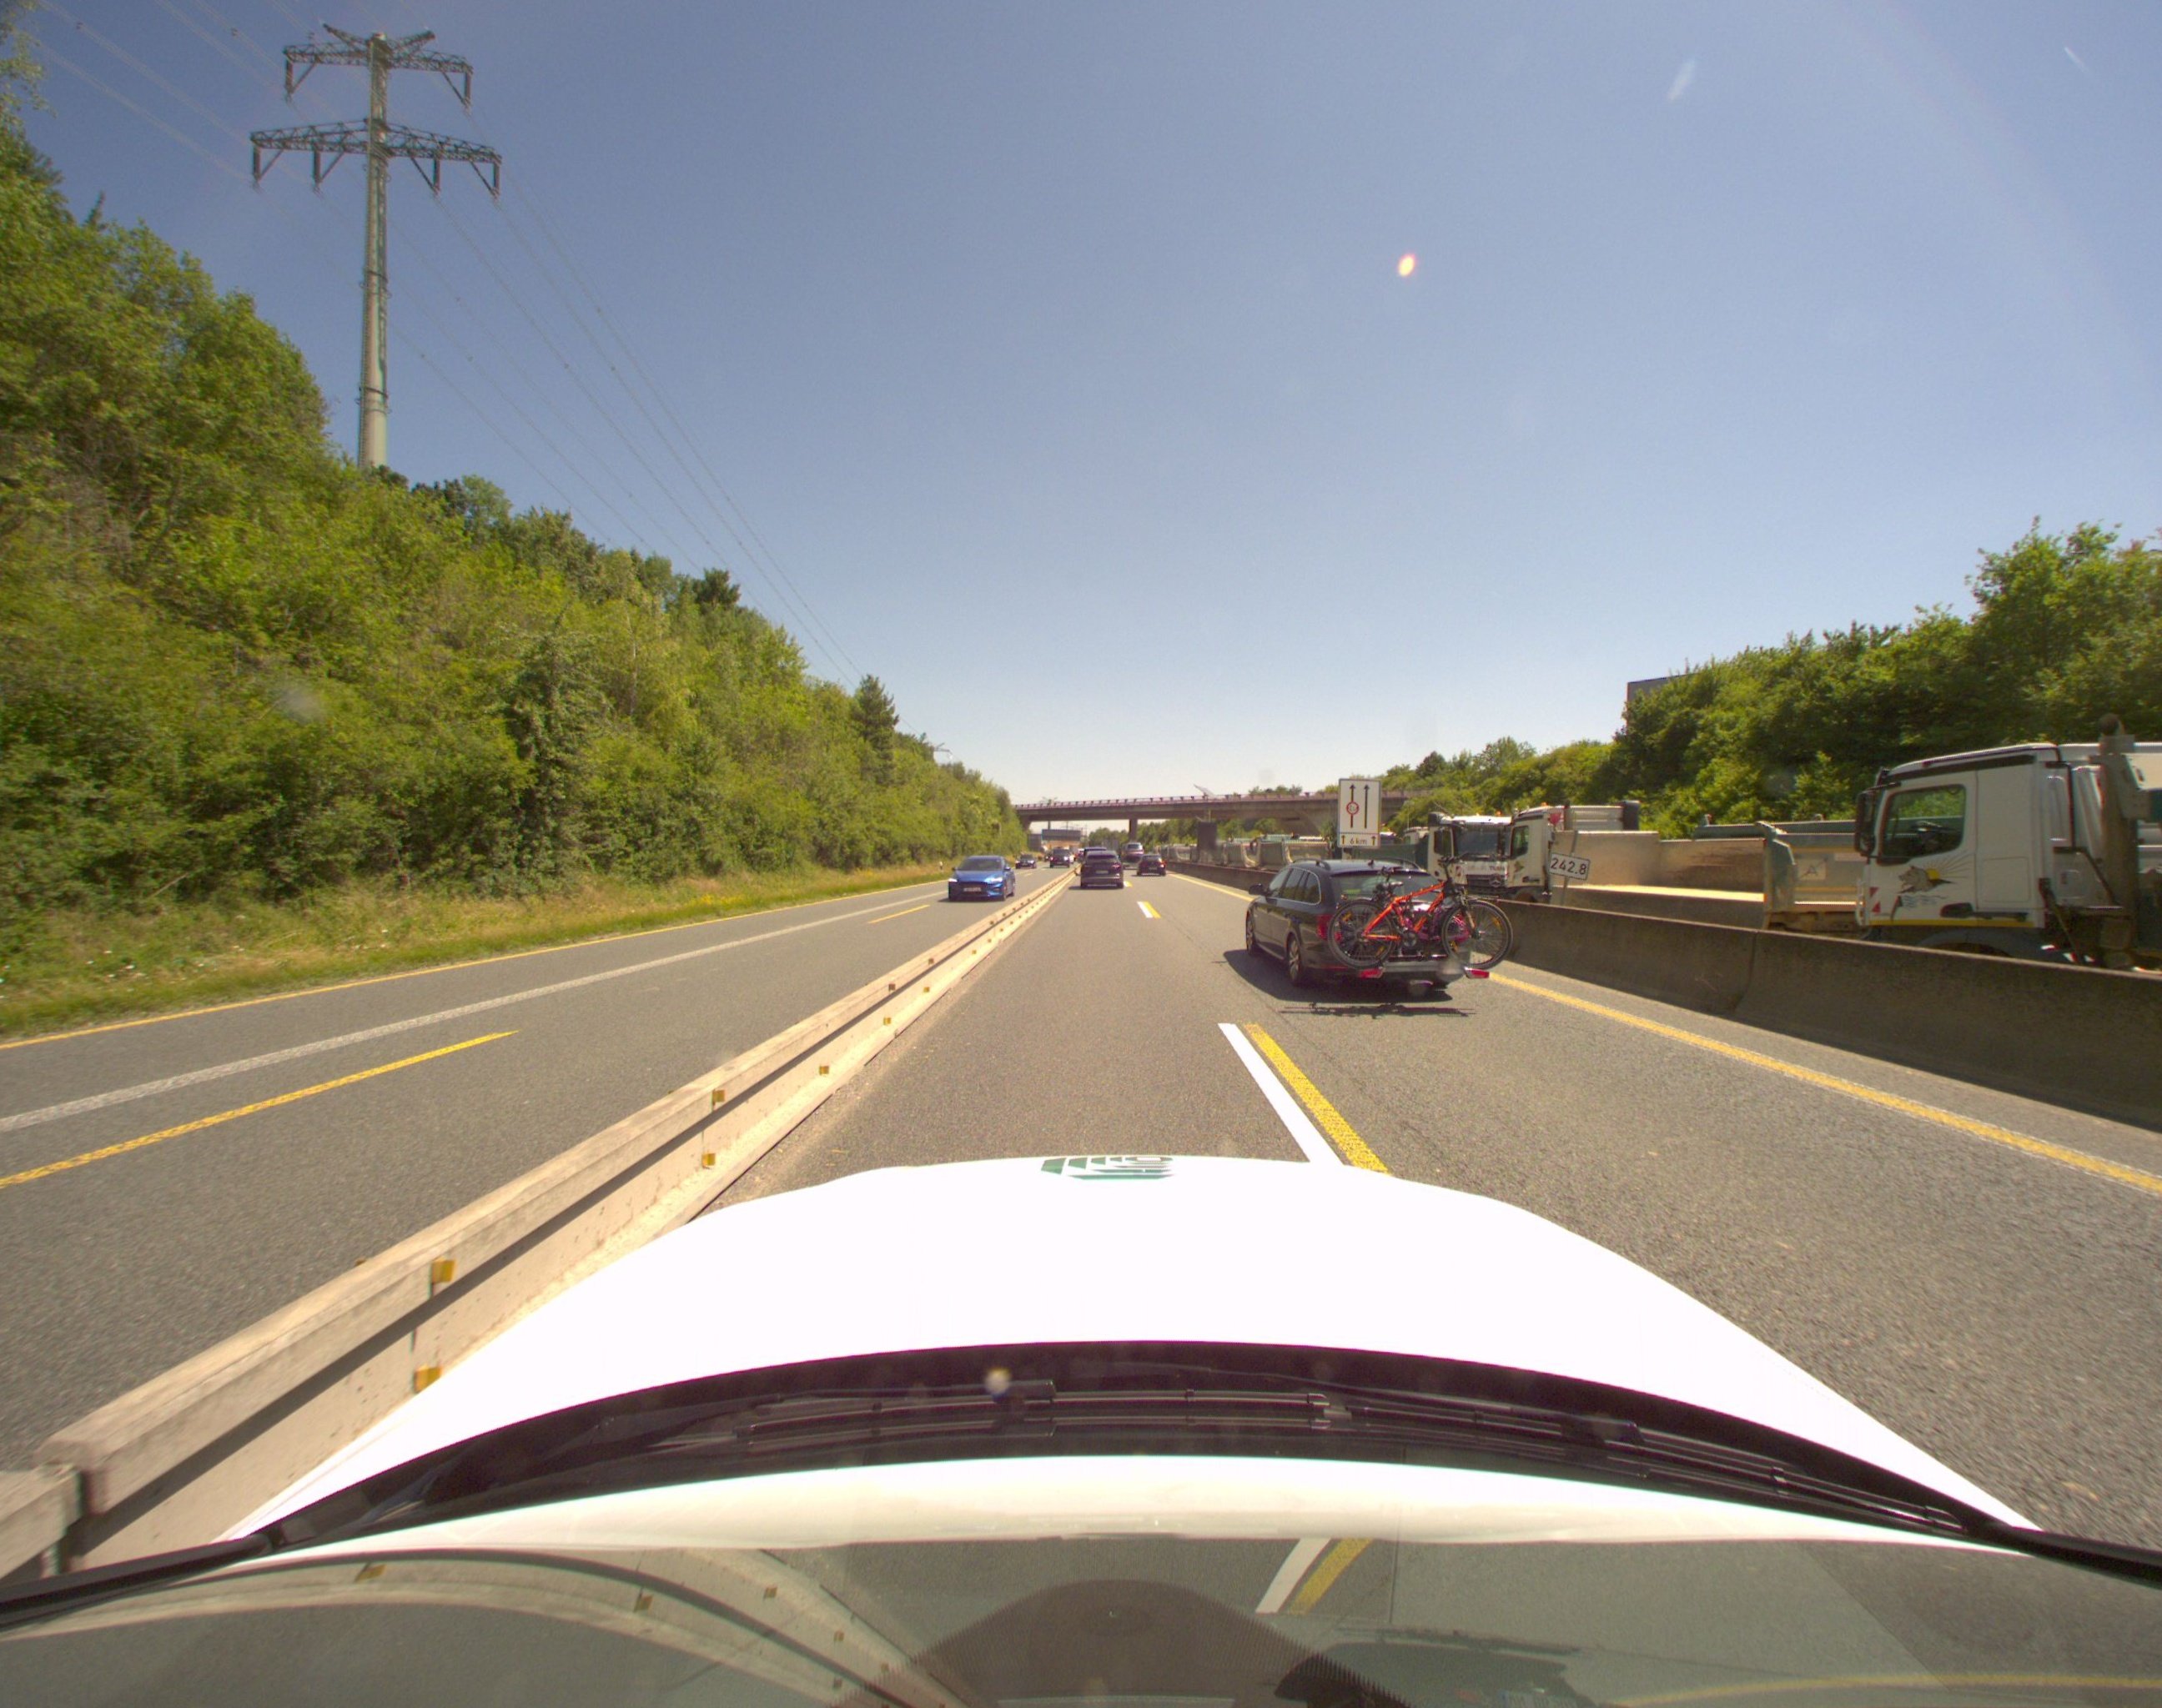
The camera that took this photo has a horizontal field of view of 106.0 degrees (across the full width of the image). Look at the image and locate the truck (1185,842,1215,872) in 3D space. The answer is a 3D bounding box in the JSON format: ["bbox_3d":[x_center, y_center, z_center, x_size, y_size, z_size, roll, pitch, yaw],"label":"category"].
[{"bbox_3d":[15.366,0.390,105.947,2.678,3.726,9.325,0,0,0],"label":"truck"}]

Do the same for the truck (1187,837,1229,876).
[{"bbox_3d":[12.182,0.202,78.637,2.678,3.557,9.325,0,0,0],"label":"truck"}]

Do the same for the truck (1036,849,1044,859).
[{"bbox_3d":[-12.448,-0.021,246.696,2.503,3.186,10.096,0,0,-4],"label":"truck"}]

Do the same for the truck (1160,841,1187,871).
[{"bbox_3d":[12.250,0.242,108.609,2.678,3.856,9.325,0,0,1],"label":"truck"}]

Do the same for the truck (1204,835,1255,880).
[{"bbox_3d":[12.495,0.251,69.262,2.678,3.557,9.325,0,0,0],"label":"truck"}]

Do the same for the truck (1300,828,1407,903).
[{"bbox_3d":[14.233,0.525,43.518,2.678,3.557,9.604,0,0,1],"label":"truck"}]

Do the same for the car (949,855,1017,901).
[{"bbox_3d":[-3.205,0.748,27.334,1.707,1.425,4.170,0,0,1],"label":"car"}]

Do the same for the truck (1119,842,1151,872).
[{"bbox_3d":[4.880,0.238,74.509,2.398,2.558,7.499,0,0,0],"label":"truck"}]

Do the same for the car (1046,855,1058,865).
[{"bbox_3d":[-4.730,1.006,134.127,1.693,1.565,3.996,0,0,1],"label":"car"}]

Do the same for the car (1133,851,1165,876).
[{"bbox_3d":[4.440,0.589,53.421,1.892,1.585,4.278,0,0,2],"label":"car"}]

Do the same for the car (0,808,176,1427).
[{"bbox_3d":[-3.754,0.684,0.395,1.756,1.632,4.297,0,0,1],"label":"car"}]

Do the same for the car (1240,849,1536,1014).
[{"bbox_3d":[3.277,0.717,9.891,1.892,1.490,4.949,0,0,2],"label":"car"}]

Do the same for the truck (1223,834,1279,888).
[{"bbox_3d":[11.911,0.436,57.905,2.675,3.557,9.416,0,0,4],"label":"truck"}]

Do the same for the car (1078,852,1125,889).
[{"bbox_3d":[0.906,0.659,35.341,1.892,1.505,4.278,0,0,2],"label":"car"}]

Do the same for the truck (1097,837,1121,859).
[{"bbox_3d":[4.830,-1.013,143.597,3.286,3.845,10.096,0,0,-4],"label":"truck"}]

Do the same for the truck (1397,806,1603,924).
[{"bbox_3d":[14.474,0.330,29.303,2.677,3.557,9.605,0,0,1],"label":"truck"}]

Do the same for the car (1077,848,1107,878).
[{"bbox_3d":[0.788,0.607,55.707,1.892,1.968,4.278,0,0,2],"label":"car"}]

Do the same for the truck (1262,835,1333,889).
[{"bbox_3d":[14.670,0.481,55.903,2.677,3.377,9.607,0,0,2],"label":"truck"}]

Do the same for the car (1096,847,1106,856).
[{"bbox_3d":[4.310,-0.479,178.755,1.895,1.968,4.271,0,0,-3],"label":"car"}]

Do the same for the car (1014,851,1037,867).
[{"bbox_3d":[-5.295,0.479,78.668,1.786,1.525,4.533,0,0,2],"label":"car"}]

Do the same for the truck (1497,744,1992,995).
[{"bbox_3d":[11.560,0.204,15.864,2.524,3.511,8.946,0,0,1],"label":"truck"}]

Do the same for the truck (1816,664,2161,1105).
[{"bbox_3d":[9.842,0.246,5.046,2.524,3.511,9.098,0,0,1],"label":"truck"}]

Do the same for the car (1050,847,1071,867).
[{"bbox_3d":[-2.037,0.262,83.401,1.883,2.013,4.820,0,0,2],"label":"car"}]

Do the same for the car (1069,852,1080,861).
[{"bbox_3d":[-1.102,0.500,145.515,1.837,1.533,4.672,1,0,1],"label":"car"}]

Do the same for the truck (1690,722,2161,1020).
[{"bbox_3d":[14.148,0.195,13.056,2.678,3.511,8.382,0,0,1],"label":"truck"}]

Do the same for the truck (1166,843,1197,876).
[{"bbox_3d":[11.903,0.605,97.044,2.678,3.761,9.325,0,0,1],"label":"truck"}]

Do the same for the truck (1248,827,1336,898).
[{"bbox_3d":[11.575,0.436,45.656,2.677,3.557,9.605,0,0,1],"label":"truck"}]

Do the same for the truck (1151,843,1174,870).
[{"bbox_3d":[12.027,0.360,121.045,2.678,3.843,9.325,0,0,1],"label":"truck"}]

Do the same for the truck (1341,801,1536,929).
[{"bbox_3d":[11.499,0.293,27.502,2.529,3.557,9.604,0,0,1],"label":"truck"}]
